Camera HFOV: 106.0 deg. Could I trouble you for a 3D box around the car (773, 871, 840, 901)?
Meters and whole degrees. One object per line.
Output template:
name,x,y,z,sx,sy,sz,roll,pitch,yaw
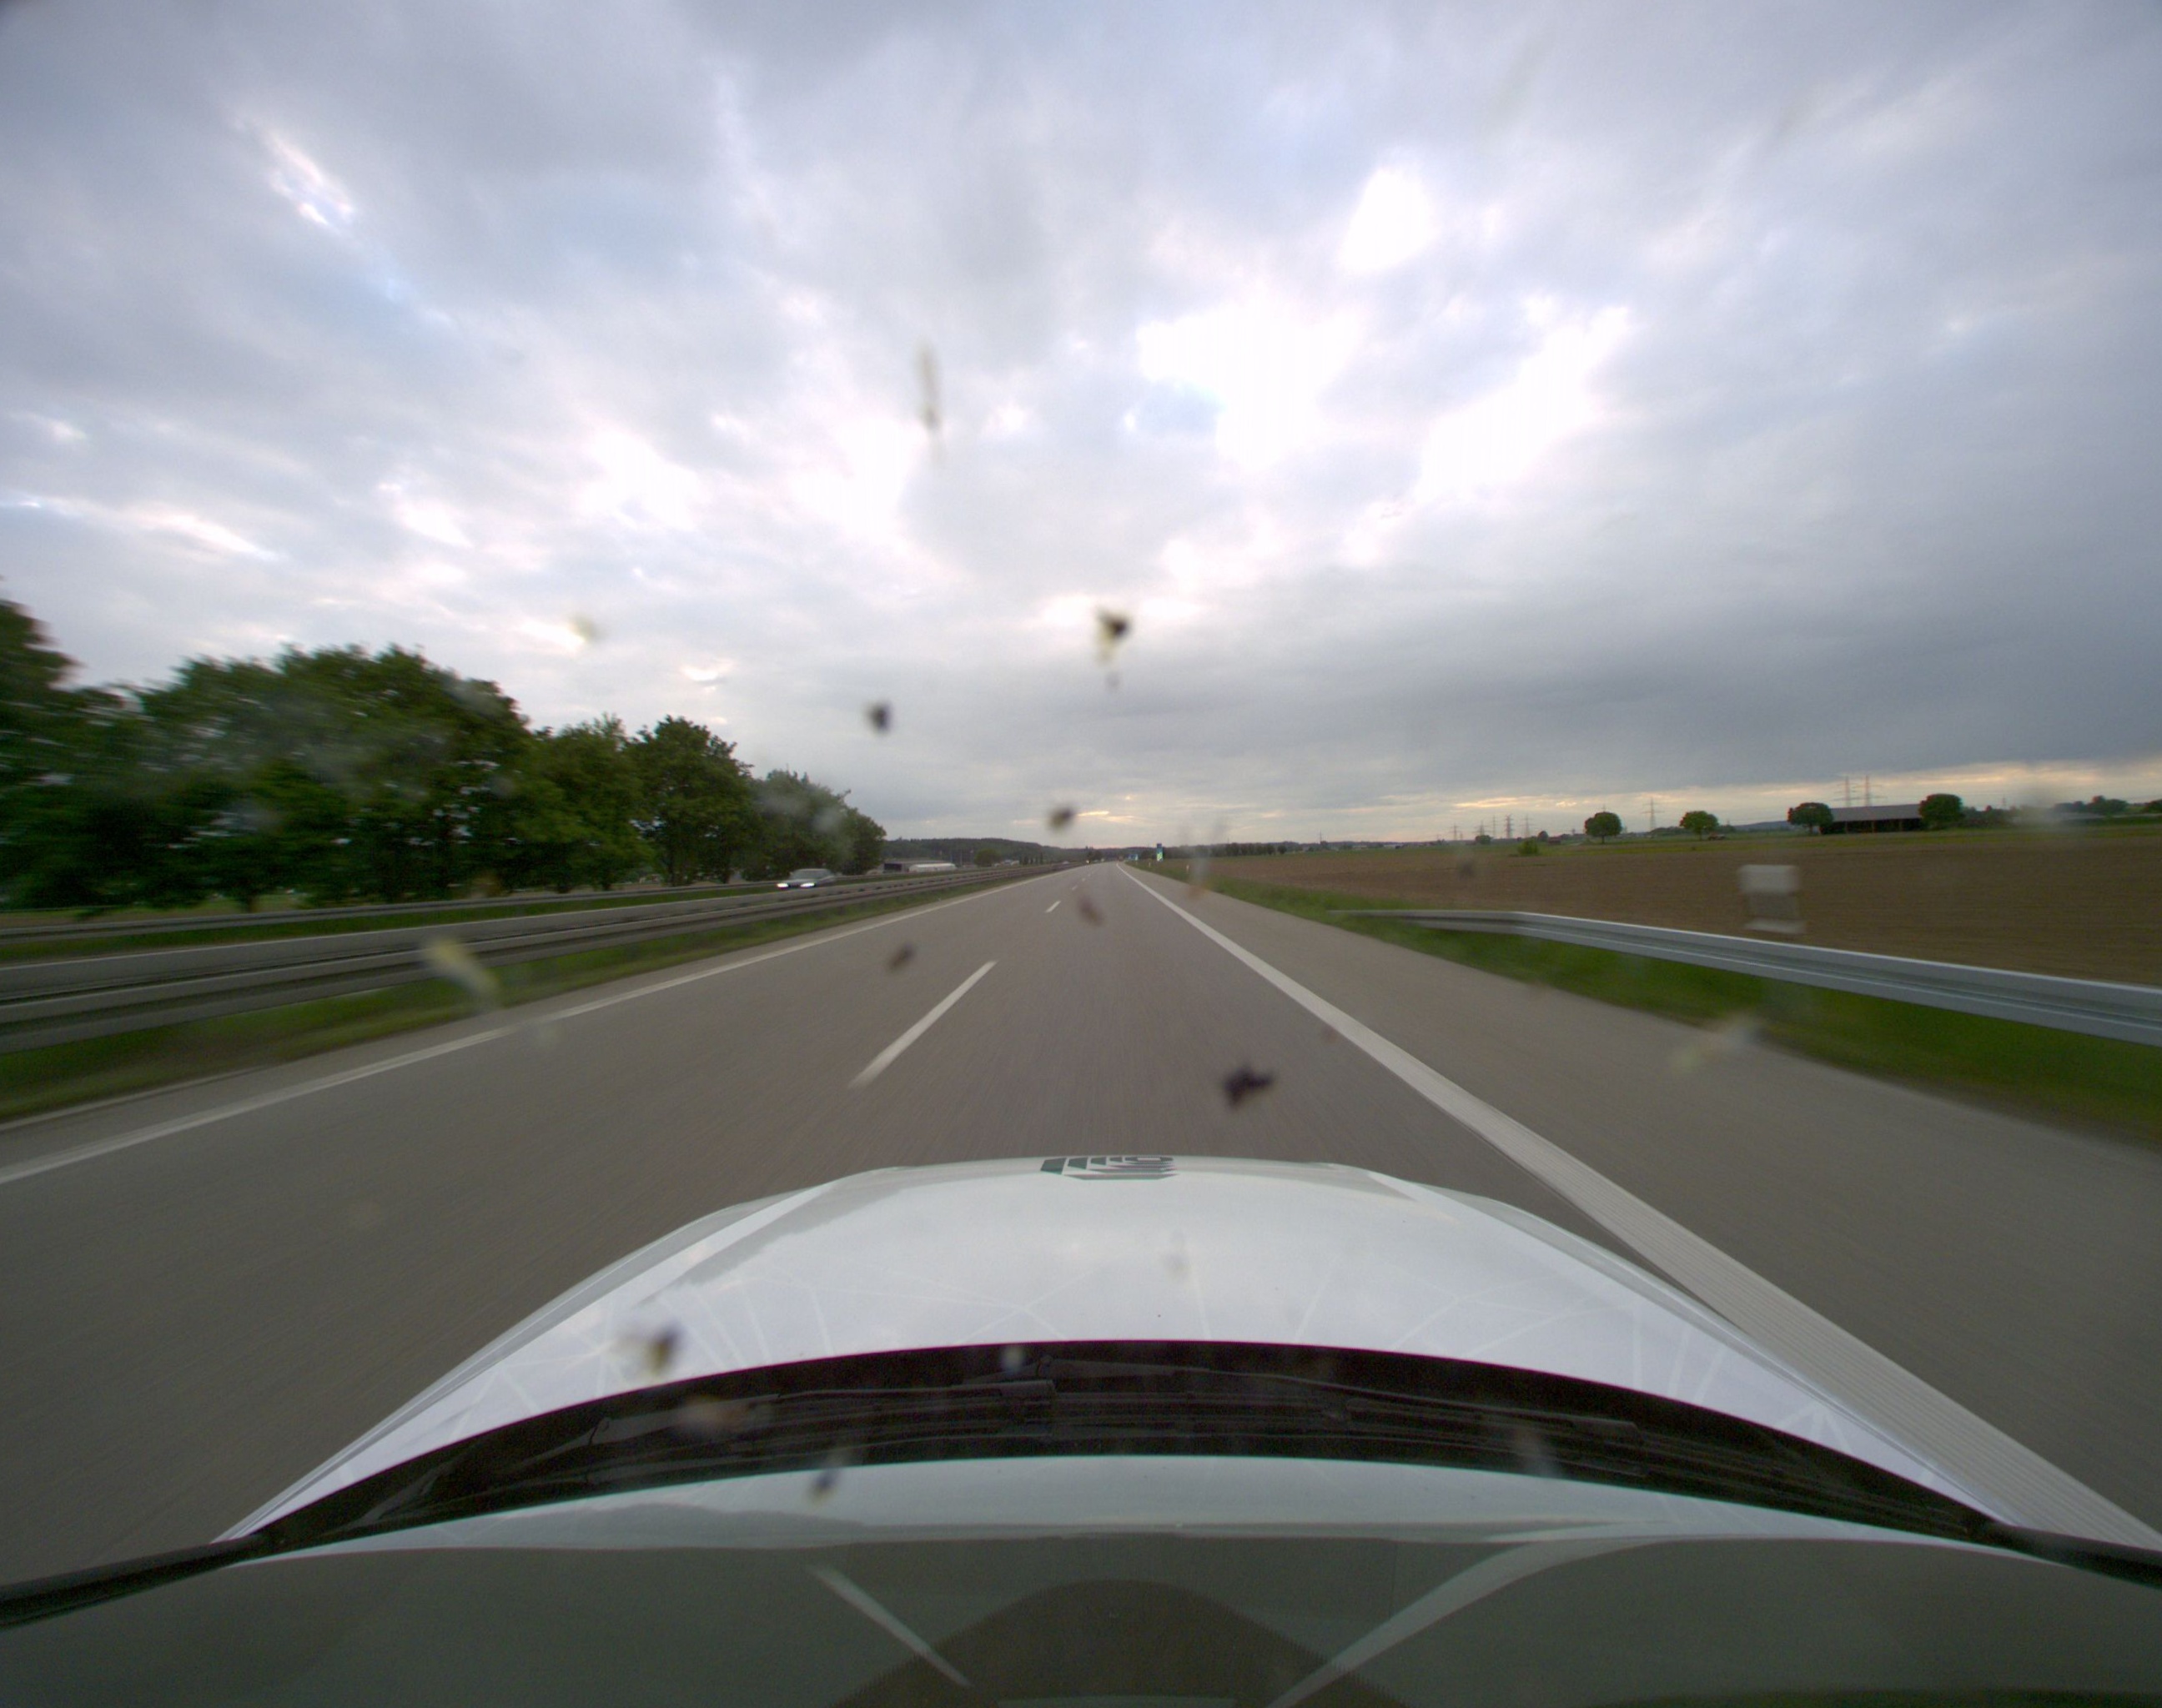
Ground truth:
car,-15.221,1.737,45.422,1.986,1.582,4.811,0,-1,2
